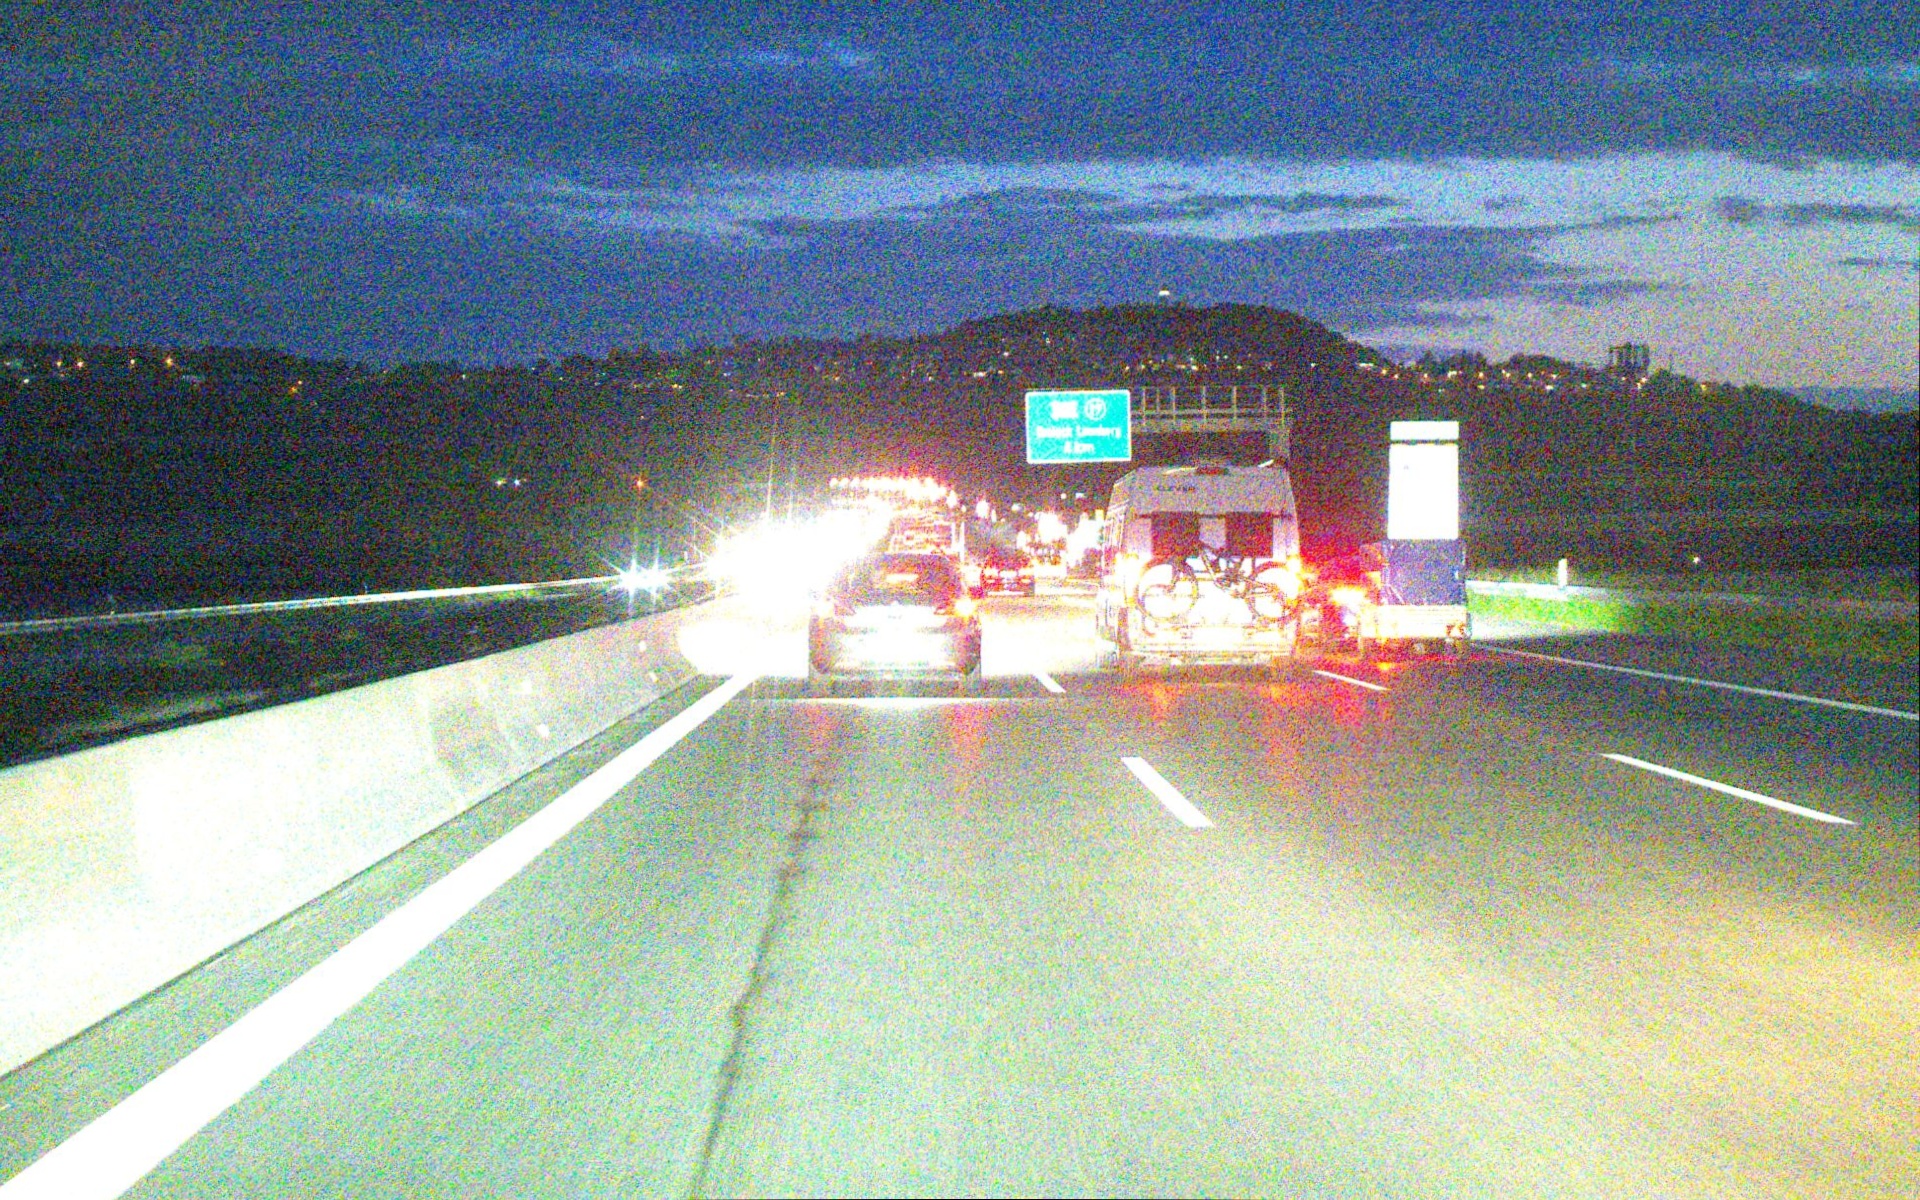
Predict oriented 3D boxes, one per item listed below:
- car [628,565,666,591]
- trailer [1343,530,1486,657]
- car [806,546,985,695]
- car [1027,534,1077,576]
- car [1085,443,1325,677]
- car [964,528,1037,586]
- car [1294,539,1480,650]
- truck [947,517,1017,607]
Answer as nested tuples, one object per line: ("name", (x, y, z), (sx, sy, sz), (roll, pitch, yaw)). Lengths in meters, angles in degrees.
("car", (-19.502, -1.399, 214.487), (1.993, 1.473, 5.045), (-3, 1, -2))
("trailer", (6.276, -0.107, 47.696), (1.566, 1.687, 2.821), (-1, 1, -1))
("car", (-0.659, 0.174, 36.270), (1.793, 1.464, 3.773), (0, 1, 0))
("car", (4.697, -2.301, 175.566), (2.351, 2.068, 4.723), (-1, 1, 0))
("car", (2.805, -0.506, 40.751), (2.351, 2.526, 5.701), (-1, 1, 0))
("car", (1.358, -1.486, 117.724), (2.351, 1.907, 4.723), (-1, 1, 0))
("car", (6.313, -0.114, 51.360), (2.163, 1.558, 4.723), (0, 1, 0))
("truck", (0.968, -1.757, 156.709), (2.781, 3.942, 7.994), (-1, 1, -2))
